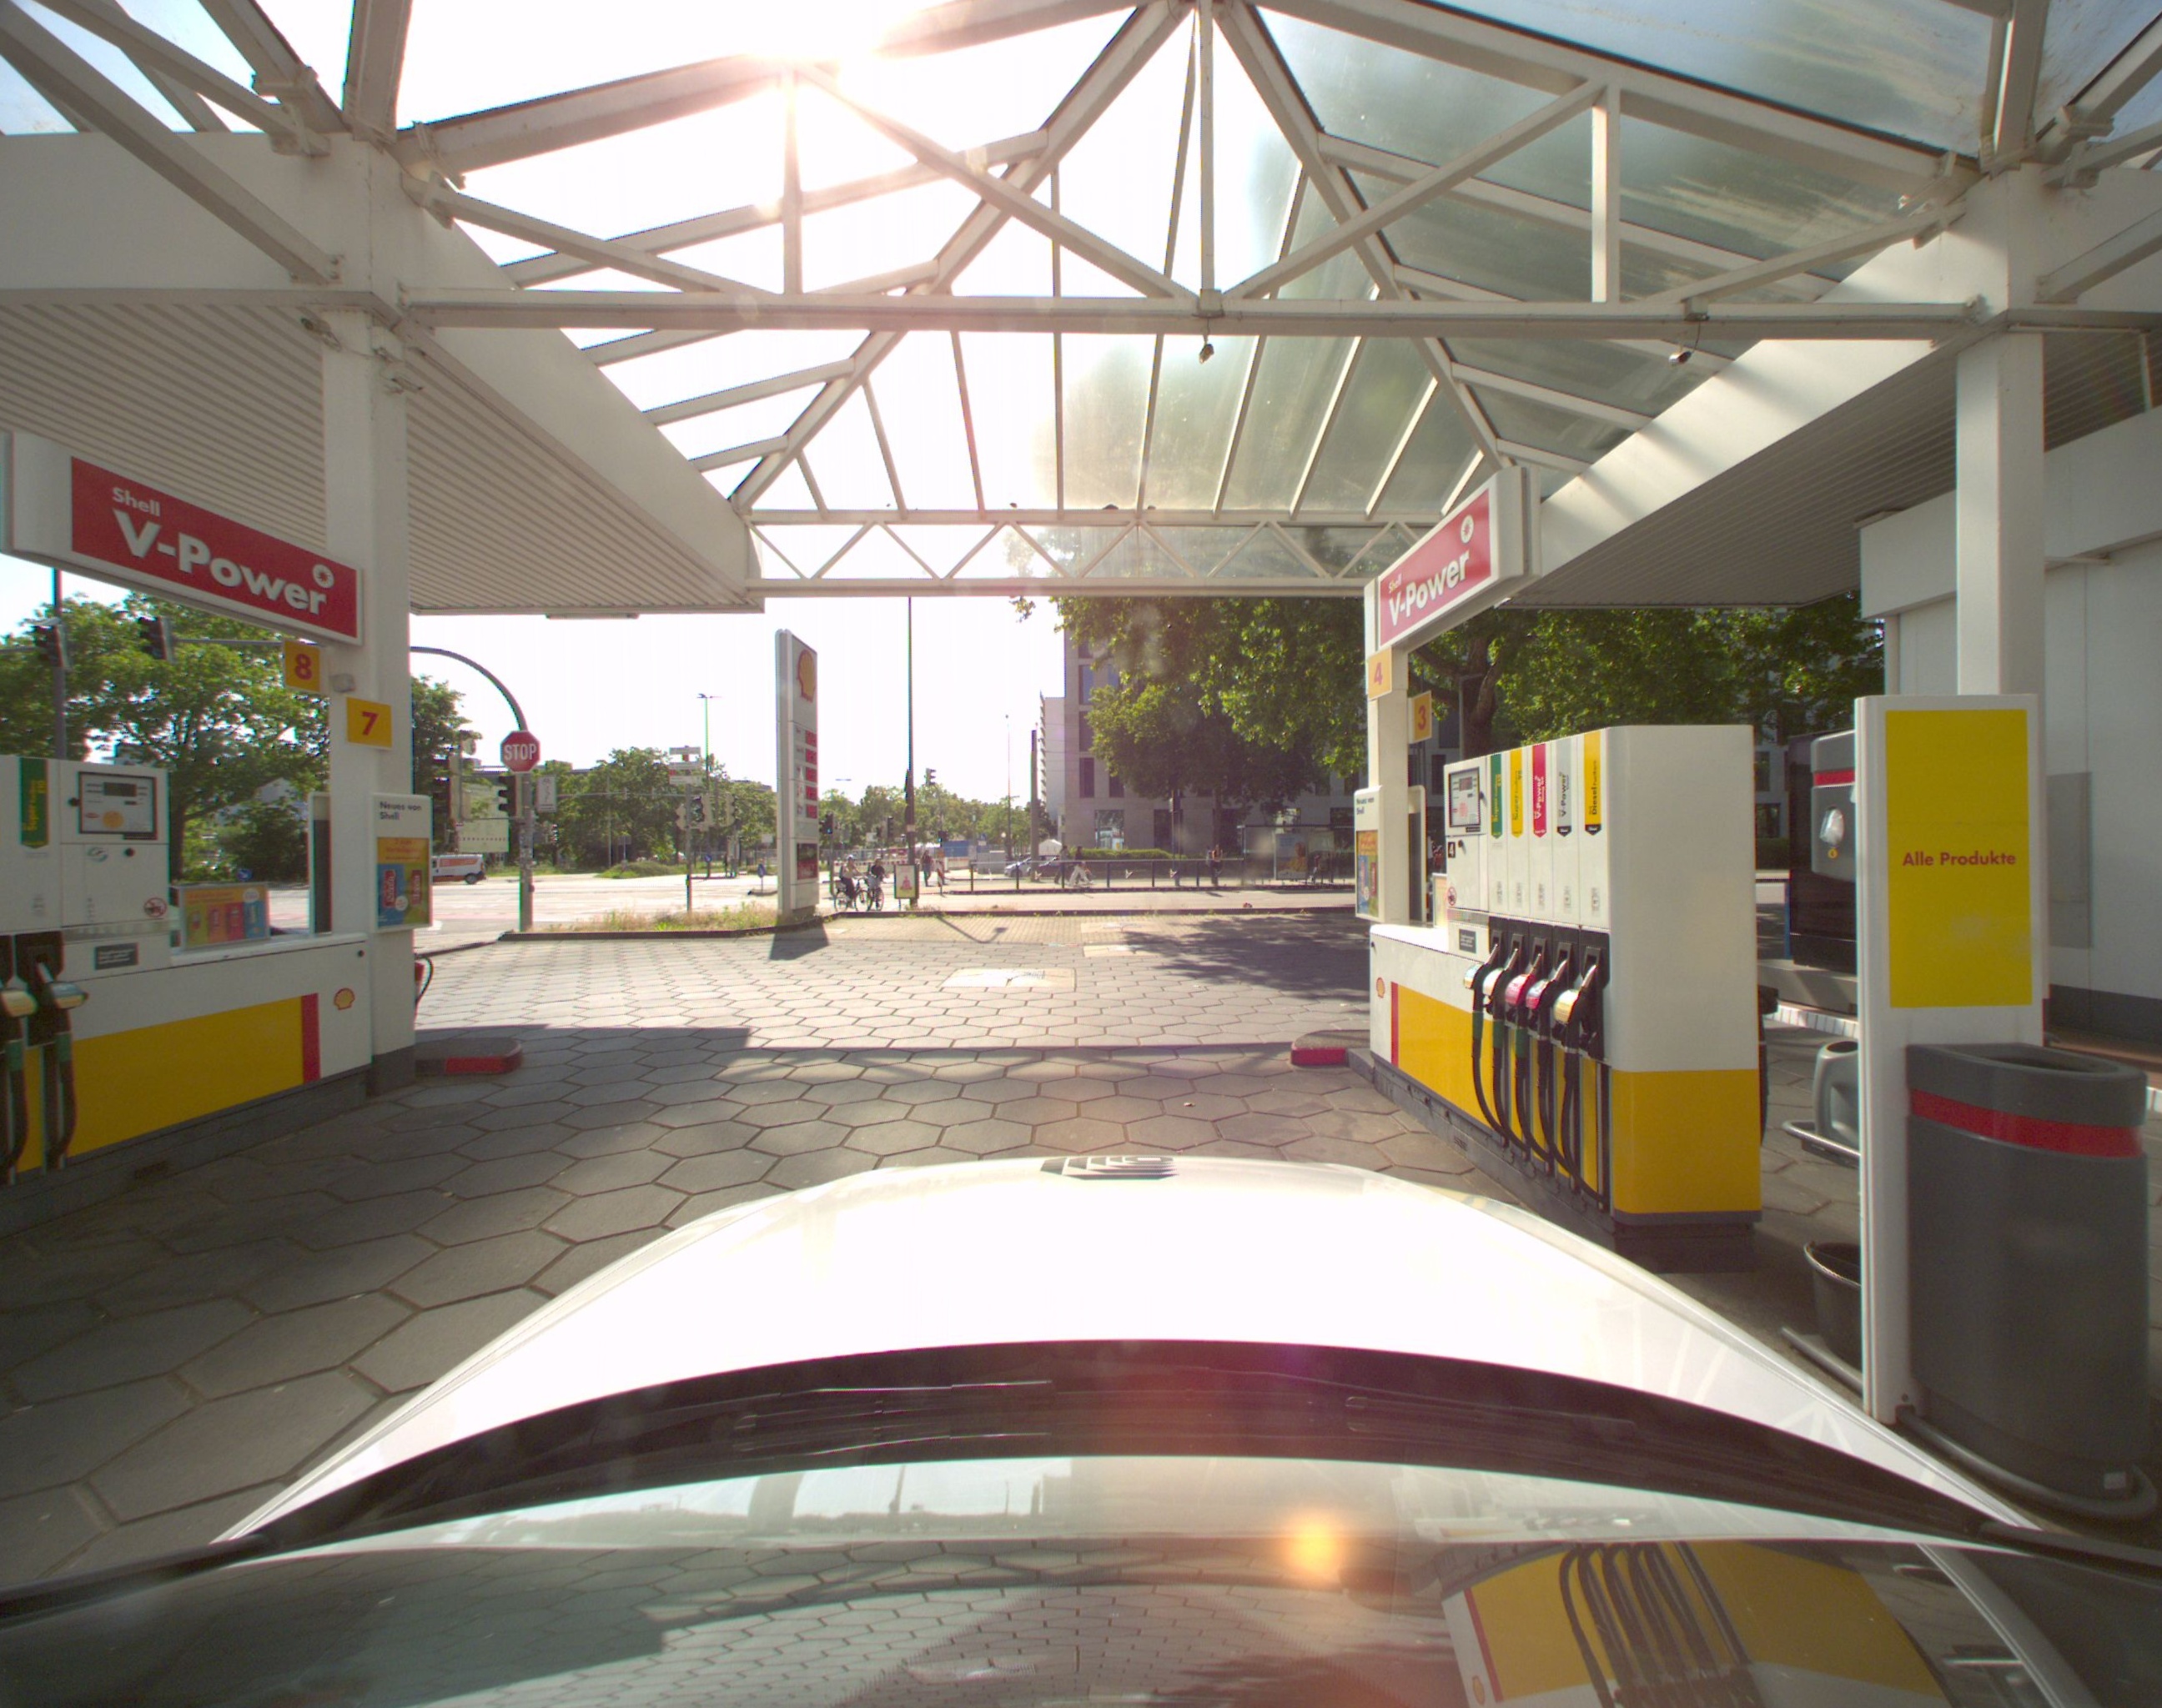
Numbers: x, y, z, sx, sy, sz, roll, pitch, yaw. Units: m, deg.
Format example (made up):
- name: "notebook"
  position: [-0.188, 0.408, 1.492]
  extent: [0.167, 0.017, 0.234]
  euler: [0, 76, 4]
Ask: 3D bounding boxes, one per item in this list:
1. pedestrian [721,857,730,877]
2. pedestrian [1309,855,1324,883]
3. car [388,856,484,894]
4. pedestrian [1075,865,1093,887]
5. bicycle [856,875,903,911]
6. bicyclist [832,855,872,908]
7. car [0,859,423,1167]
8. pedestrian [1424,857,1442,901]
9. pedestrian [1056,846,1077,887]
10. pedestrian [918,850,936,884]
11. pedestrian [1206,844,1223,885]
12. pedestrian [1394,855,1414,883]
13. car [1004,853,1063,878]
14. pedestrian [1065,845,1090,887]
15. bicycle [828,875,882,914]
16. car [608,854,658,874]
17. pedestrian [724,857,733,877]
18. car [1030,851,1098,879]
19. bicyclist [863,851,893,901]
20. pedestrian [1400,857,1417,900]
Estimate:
- name: "pedestrian"
  position: [-26.297, 0.926, 60.178]
  extent: [0.566, 1.469, 0.509]
  euler: [-1, 0, -26]
- name: "pedestrian"
  position: [9.529, 0.595, 32.950]
  extent: [0.496, 1.138, 0.525]
  euler: [-1, 0, 5]
- name: "car"
  position: [-39.387, 1.258, 49.827]
  extent: [4.470, 2.013, 1.976]
  euler: [-3, 0, -40]
- name: "pedestrian"
  position: [0.128, 0.915, 33.920]
  extent: [0.687, 0.880, 0.504]
  euler: [-1, 0, 8]
- name: "bicycle"
  position: [-6.437, 1.216, 25.995]
  extent: [1.844, 1.082, 0.528]
  euler: [0, 0, 43]
- name: "bicyclist"
  position: [-6.963, 0.812, 24.729]
  extent: [1.158, 1.580, 0.644]
  euler: [-1, 0, 44]
- name: "car"
  position: [-6.299, 0.830, 4.713]
  extent: [1.739, 1.532, 3.998]
  euler: [-2, 0, -1]
- name: "pedestrian"
  position: [14.268, 1.015, 33.039]
  extent: [0.497, 1.735, 0.524]
  euler: [-1, 0, 2]
- name: "pedestrian"
  position: [-0.607, 0.531, 34.014]
  extent: [0.772, 1.683, 0.504]
  euler: [-1, 0, 8]
- name: "pedestrian"
  position: [-7.079, 0.611, 37.376]
  extent: [0.646, 1.540, 0.504]
  euler: [-1, 0, 8]
- name: "pedestrian"
  position: [5.360, 0.416, 32.690]
  extent: [0.582, 1.591, 0.670]
  euler: [-1, 2, -2]
- name: "pedestrian"
  position: [13.140, 0.615, 33.119]
  extent: [0.625, 1.138, 0.525]
  euler: [-1, 0, 5]
- name: "car"
  position: [-3.068, 0.709, 52.172]
  extent: [3.678, 1.552, 1.588]
  euler: [-1, 0, -7]
- name: "pedestrian"
  position: [-0.145, 0.475, 32.745]
  extent: [0.927, 1.683, 0.504]
  euler: [-1, 0, 8]
- name: "bicycle"
  position: [-6.854, 1.204, 24.647]
  extent: [2.001, 1.082, 0.644]
  euler: [0, 0, 44]
- name: "car"
  position: [-46.831, 1.025, 85.172]
  extent: [3.970, 1.816, 2.002]
  euler: [-3, 0, 3]
- name: "pedestrian"
  position: [-25.662, 0.942, 59.267]
  extent: [0.566, 1.469, 0.509]
  euler: [-1, 0, -26]
- name: "car"
  position: [-1.041, 0.646, 49.309]
  extent: [3.982, 1.552, 1.699]
  euler: [-1, 0, -7]
- name: "bicyclist"
  position: [-6.499, 0.696, 26.066]
  extent: [0.855, 1.544, 0.538]
  euler: [-1, -1, 43]
- name: "pedestrian"
  position: [13.309, 0.985, 33.081]
  extent: [0.497, 1.735, 0.406]
  euler: [-1, 0, 1]
